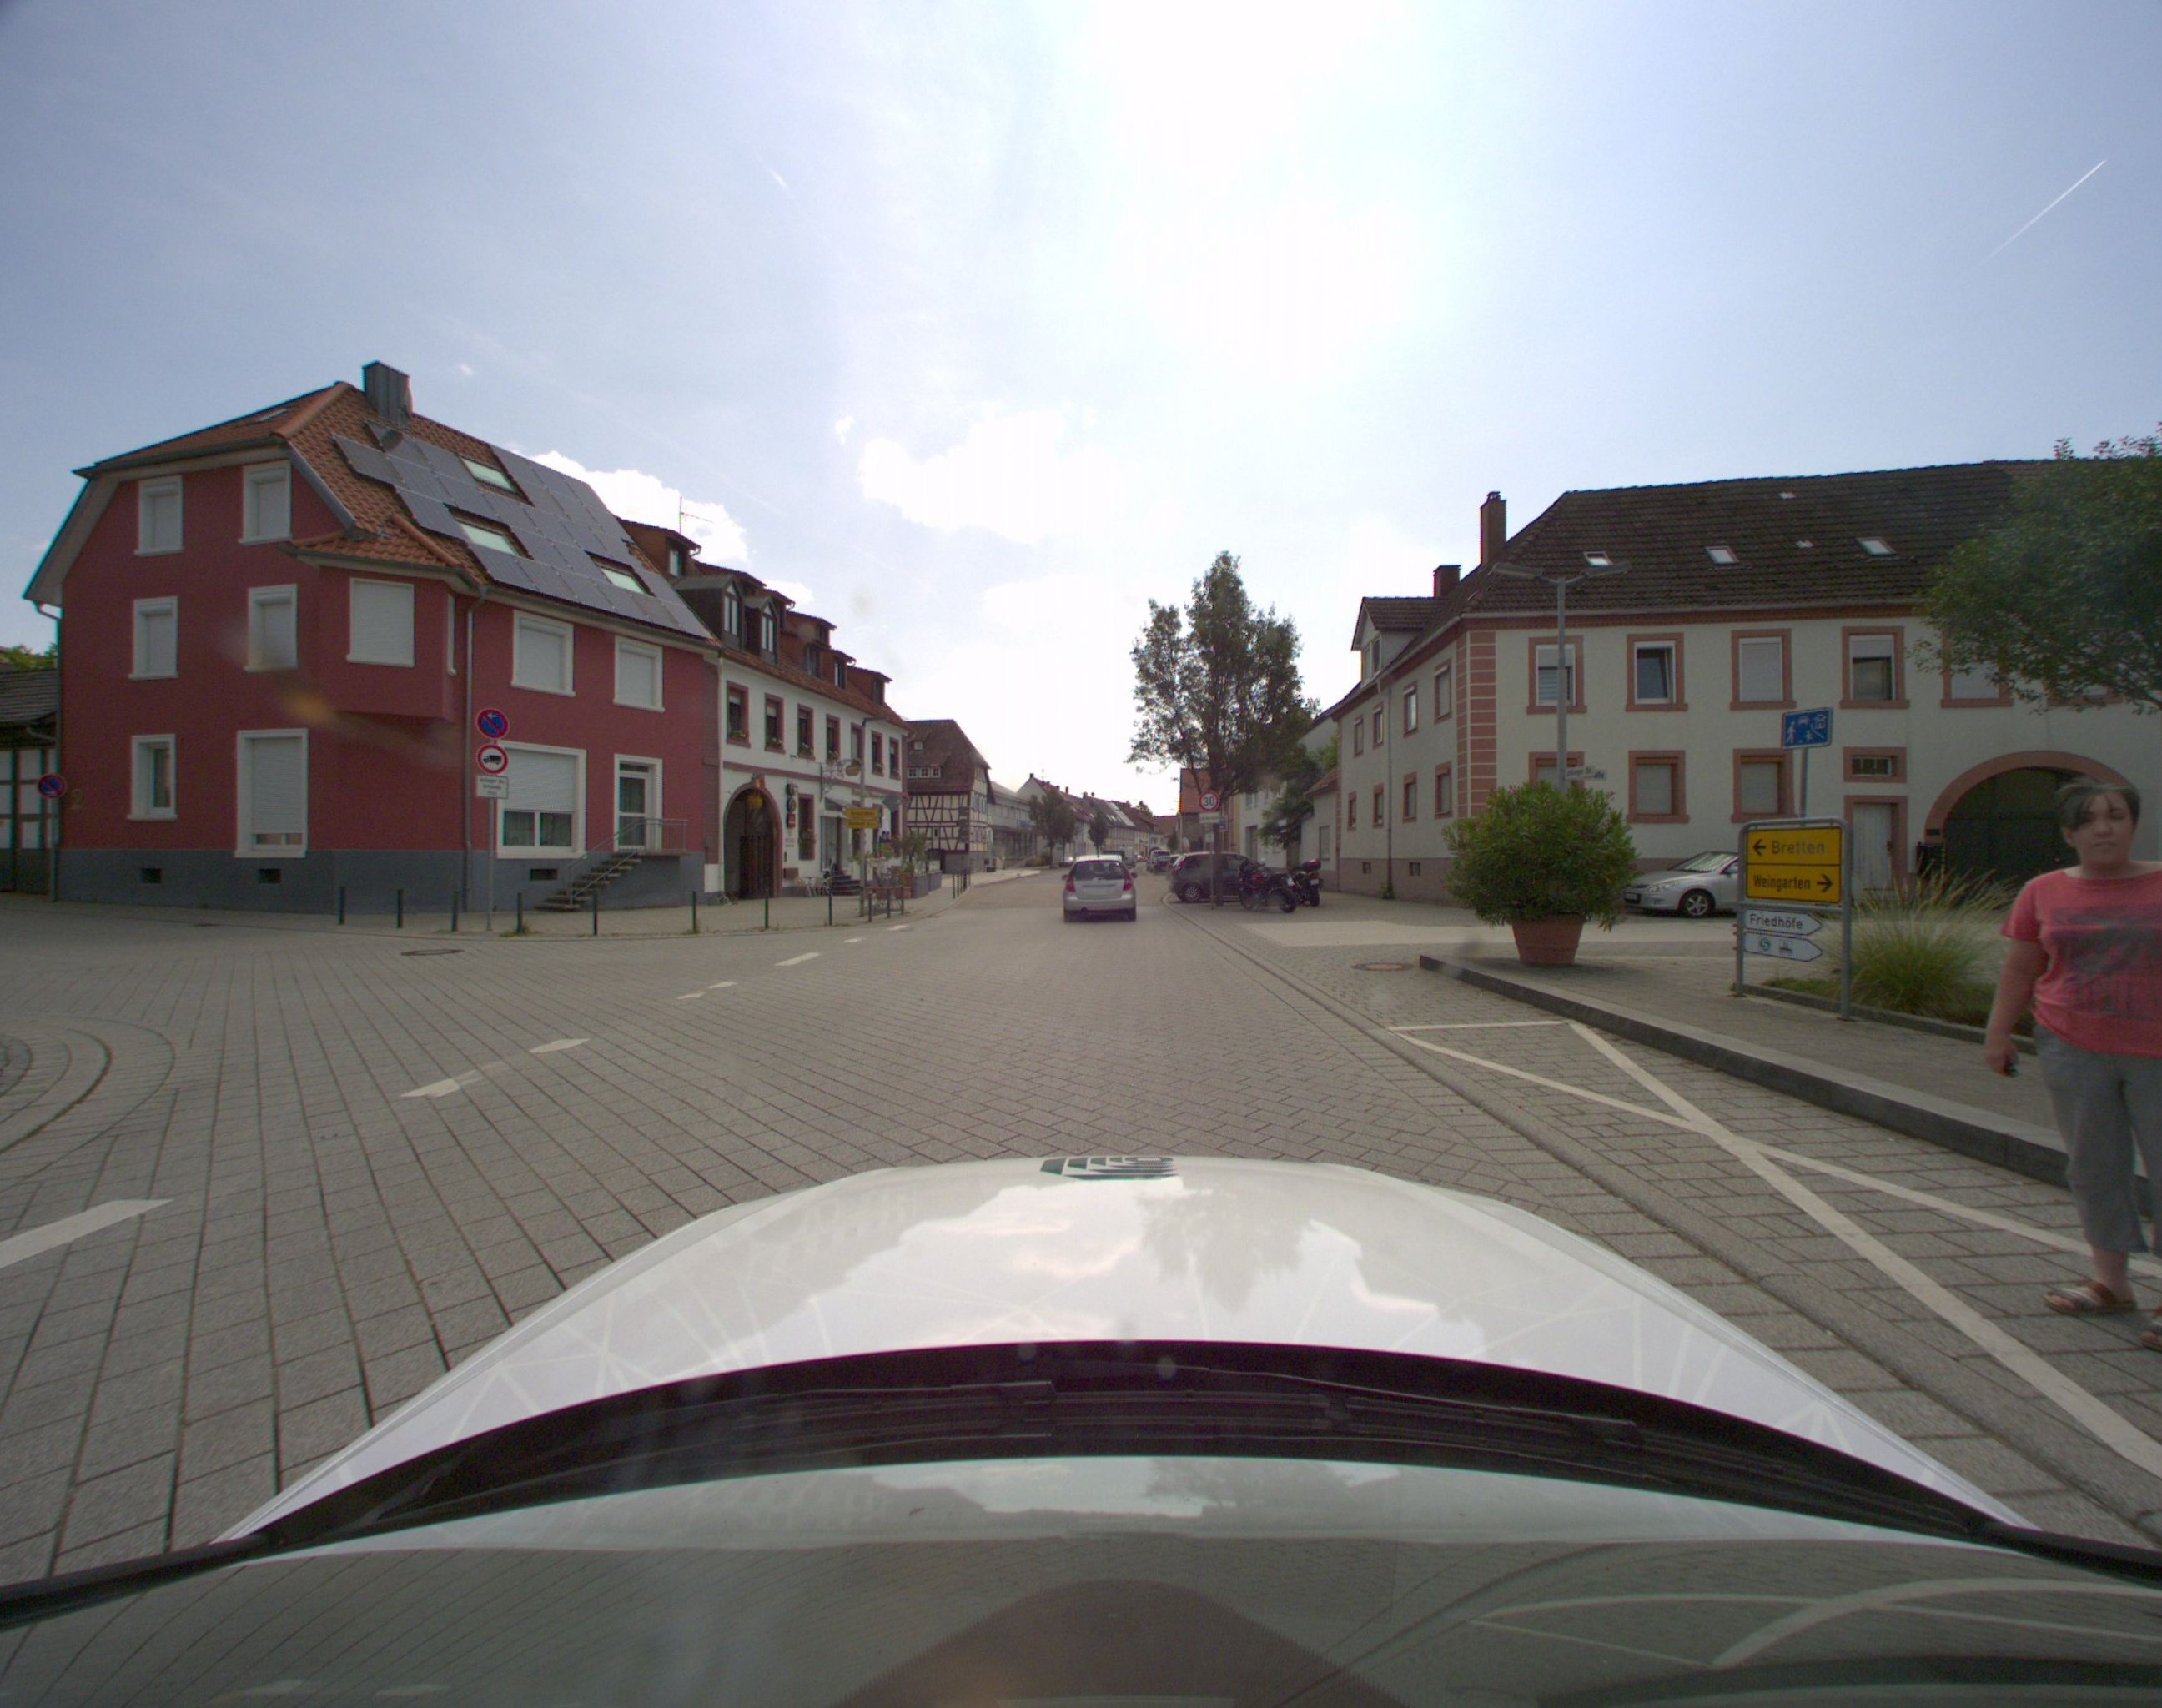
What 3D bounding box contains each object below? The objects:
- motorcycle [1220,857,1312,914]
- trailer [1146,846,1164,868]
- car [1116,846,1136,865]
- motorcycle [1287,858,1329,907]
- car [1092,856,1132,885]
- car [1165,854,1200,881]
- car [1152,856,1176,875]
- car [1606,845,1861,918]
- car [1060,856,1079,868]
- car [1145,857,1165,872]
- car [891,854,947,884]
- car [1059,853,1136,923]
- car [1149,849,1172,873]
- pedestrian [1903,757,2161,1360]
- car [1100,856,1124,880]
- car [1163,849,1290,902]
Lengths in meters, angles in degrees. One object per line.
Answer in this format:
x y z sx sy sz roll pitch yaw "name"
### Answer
4.766 0.782 21.110 0.877 1.395 2.198 0 -1 -44 "motorcycle"
8.099 0.352 89.152 1.837 2.354 3.592 -1 0 3 "trailer"
5.697 0.210 102.518 2.224 2.222 4.008 -1 -1 7 "car"
6.497 0.796 23.427 0.953 1.298 2.232 -2 -1 11 "motorcycle"
1.614 0.831 41.846 1.937 1.407 4.003 0 0 3 "car"
6.568 0.823 53.126 1.985 1.680 4.327 0 0 3 "car"
6.757 0.929 66.302 1.767 1.495 4.165 0 0 3 "car"
13.995 0.575 17.697 3.970 1.473 1.829 0 0 8 "car"
-1.413 0.980 101.482 1.795 1.460 4.165 1 0 6 "car"
7.625 1.055 83.966 1.867 1.481 4.679 1 0 4 "car"
-8.949 0.813 45.325 1.749 1.492 4.283 4 0 6 "car"
0.422 0.814 20.967 1.762 1.595 4.001 -1 -1 1 "car"
7.250 0.635 74.460 1.884 1.982 4.935 -2 0 3 "car"
3.154 0.551 2.495 0.635 1.629 0.621 0 -1 6 "pedestrian"
2.616 1.155 67.406 1.761 1.888 4.452 2 -1 4 "car"
4.743 0.693 26.980 3.836 1.577 1.850 -2 0 -1 "car"
